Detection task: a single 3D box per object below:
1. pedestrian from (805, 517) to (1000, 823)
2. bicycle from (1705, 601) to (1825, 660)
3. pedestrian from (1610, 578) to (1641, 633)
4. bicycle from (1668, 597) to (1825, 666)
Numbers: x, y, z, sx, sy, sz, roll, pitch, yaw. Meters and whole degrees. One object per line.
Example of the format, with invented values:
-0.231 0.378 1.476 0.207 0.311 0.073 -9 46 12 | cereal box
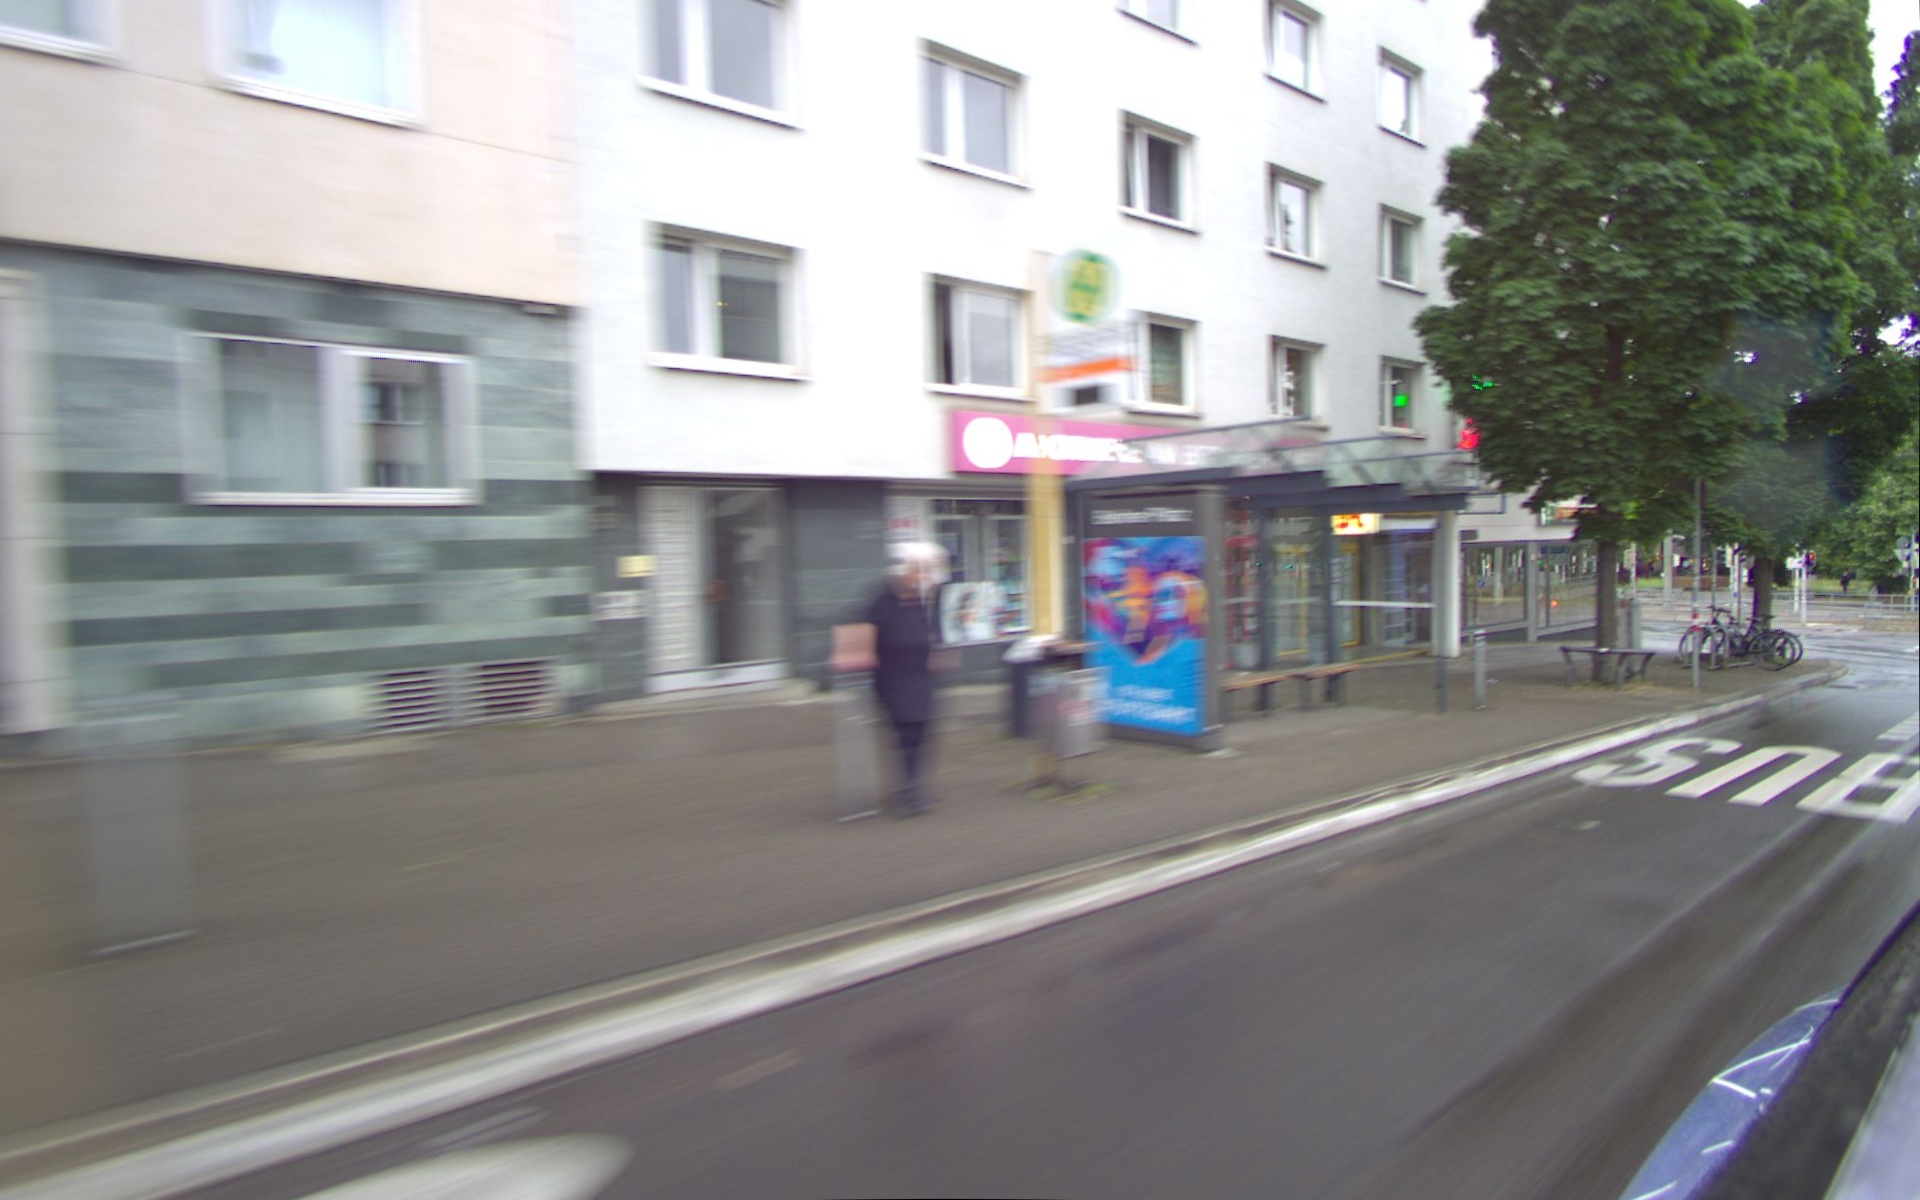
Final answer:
-0.337 0.363 6.006 0.951 1.646 0.666 0 1 -41 | pedestrian
16.599 0.608 20.902 0.637 1.105 1.822 1 1 -37 | bicycle
21.432 0.163 32.600 0.519 1.733 0.706 0 1 1 | pedestrian
15.208 0.573 19.653 0.637 1.188 2.322 -2 2 -37 | bicycle
